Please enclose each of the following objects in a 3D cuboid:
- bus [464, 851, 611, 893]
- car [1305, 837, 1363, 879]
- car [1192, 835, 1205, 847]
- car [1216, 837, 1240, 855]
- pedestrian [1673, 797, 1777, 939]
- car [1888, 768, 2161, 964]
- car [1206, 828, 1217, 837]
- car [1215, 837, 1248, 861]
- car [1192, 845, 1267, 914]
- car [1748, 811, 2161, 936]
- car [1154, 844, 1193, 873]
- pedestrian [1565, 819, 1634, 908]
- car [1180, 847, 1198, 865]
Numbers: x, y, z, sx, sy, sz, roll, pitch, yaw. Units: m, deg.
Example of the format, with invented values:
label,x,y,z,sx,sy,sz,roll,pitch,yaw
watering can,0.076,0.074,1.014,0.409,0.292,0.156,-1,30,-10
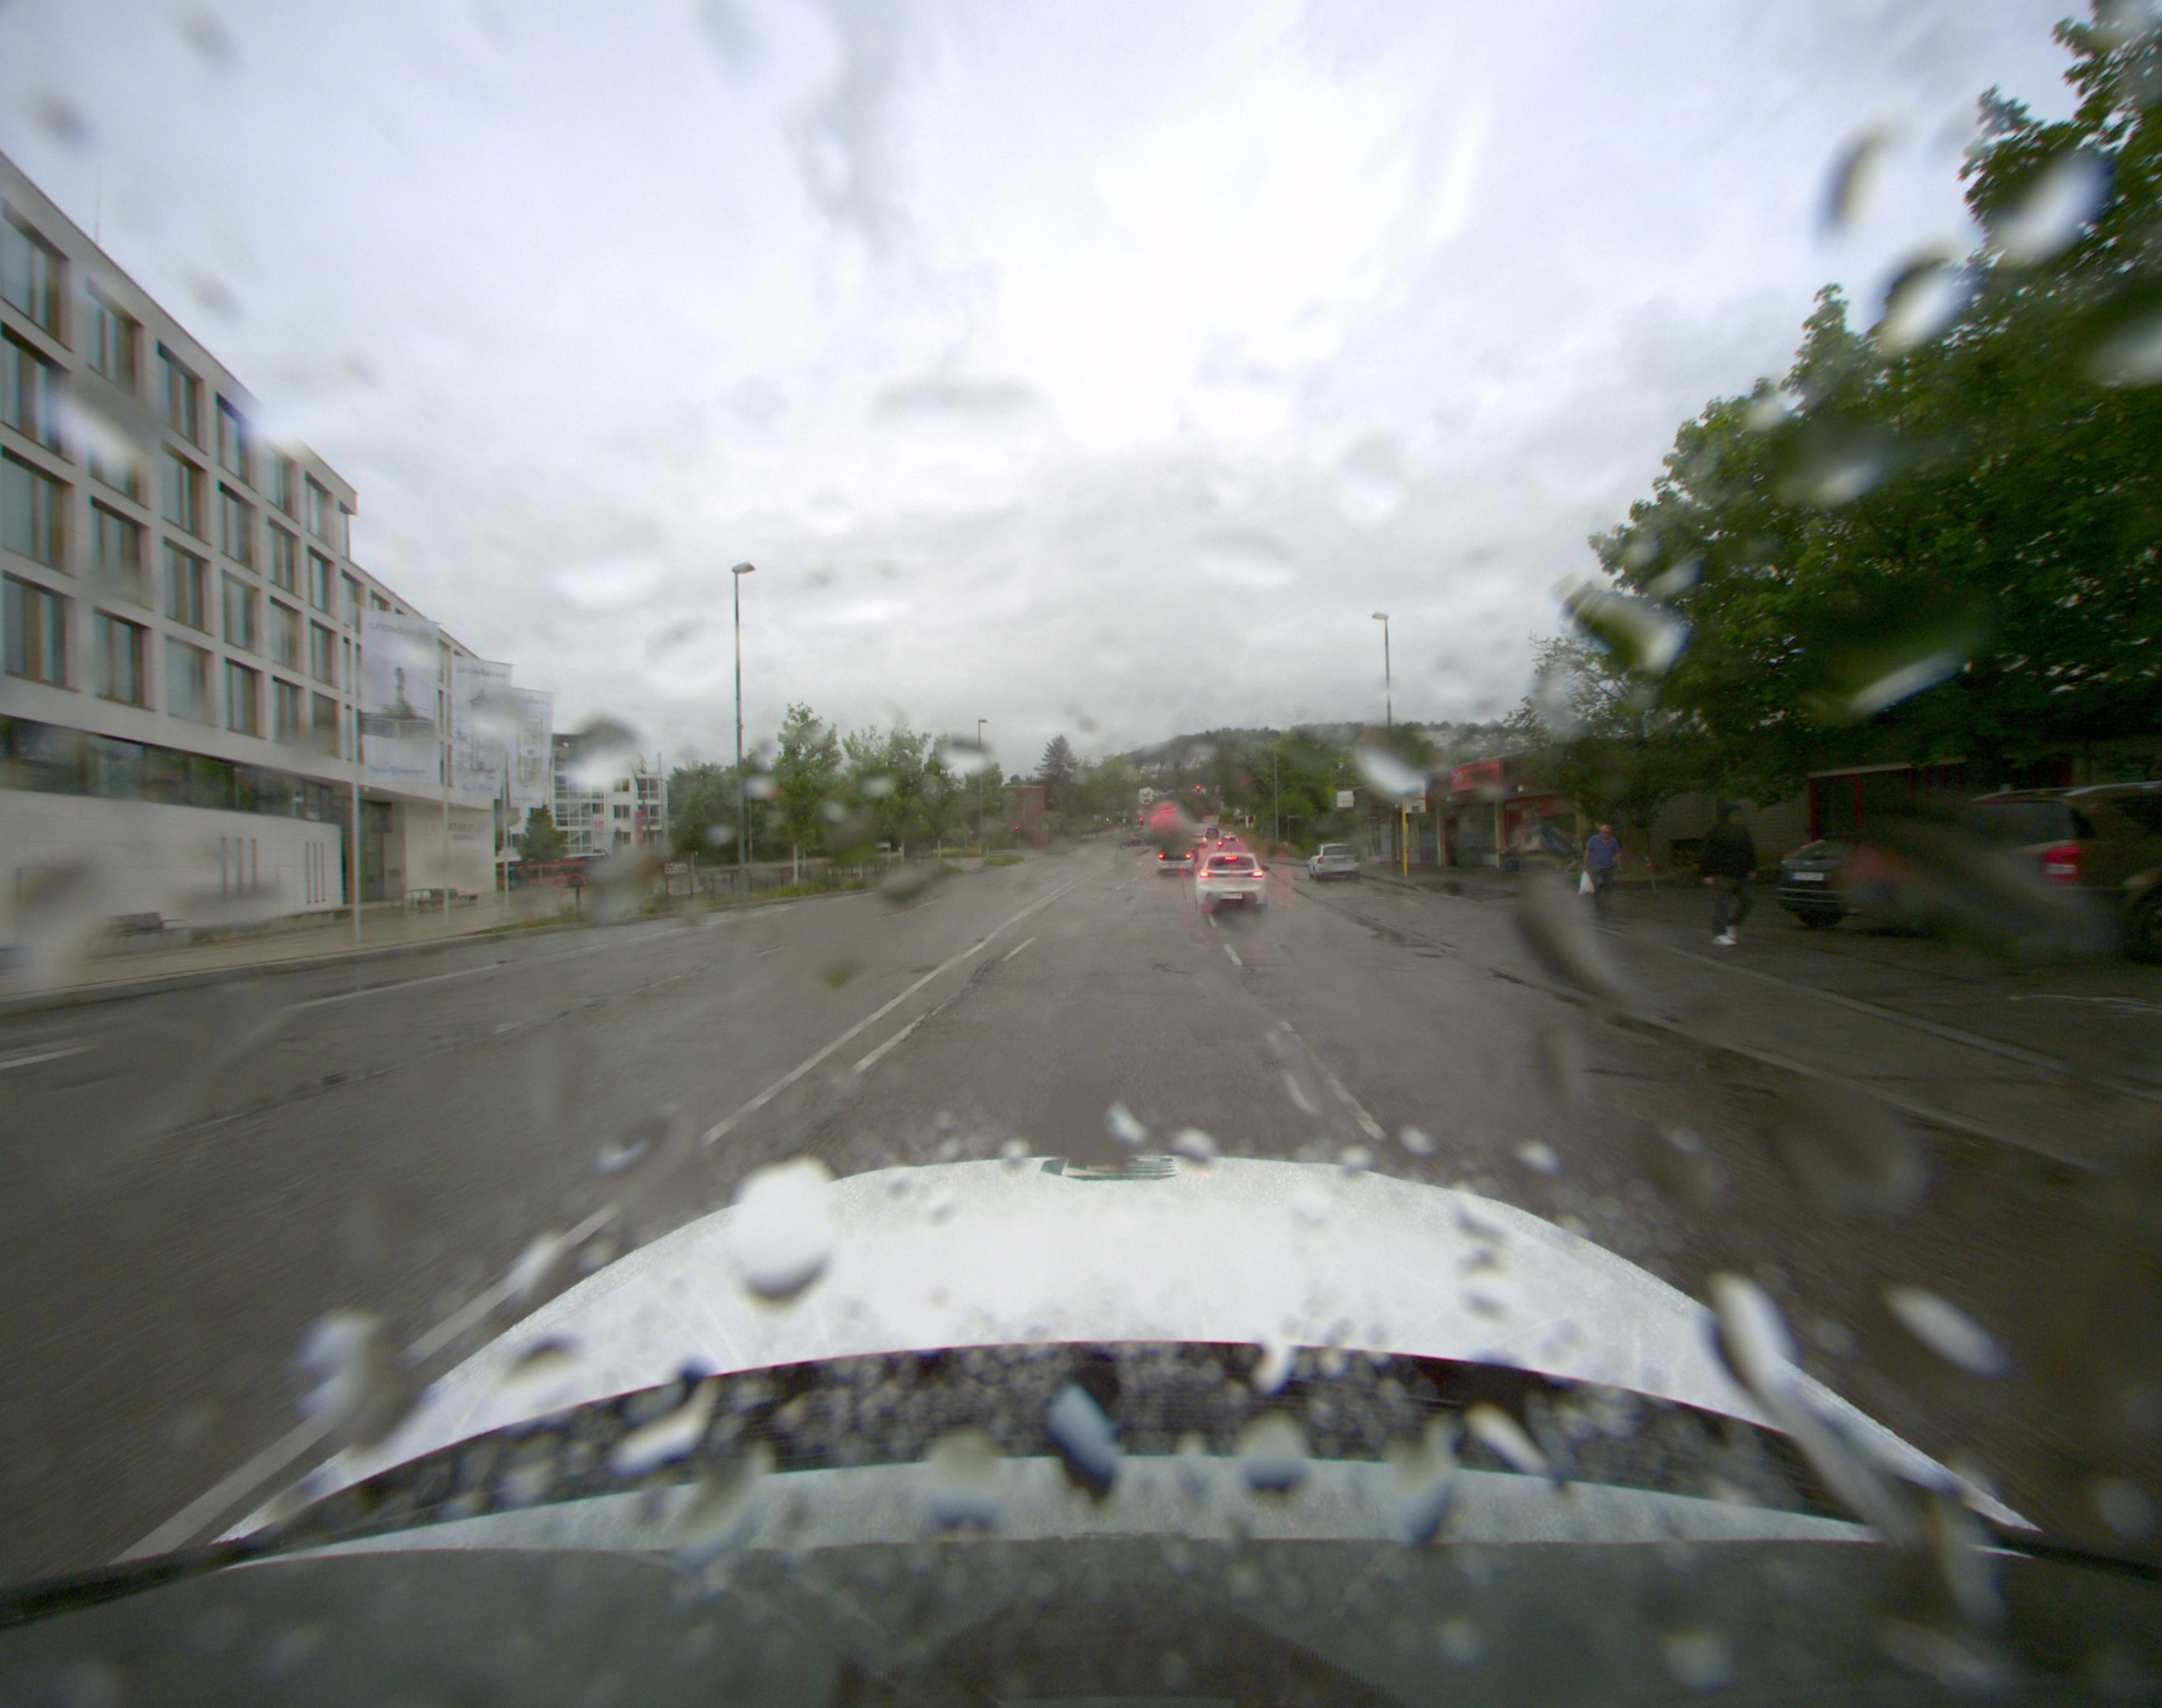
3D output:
label,x,y,z,sx,sy,sz,roll,pitch,yaw
bus,-47.933,1.548,72.315,10.427,3.281,2.838,-2,-2,-25
car,10.224,0.111,33.196,1.719,1.497,4.495,-3,1,11
car,12.612,-1.430,87.399,1.377,1.126,2.616,-3,-2,8
car,13.301,-0.717,74.026,1.641,1.485,3.367,-3,-2,2
pedestrian,8.668,0.184,10.978,0.712,1.821,0.789,-1,-2,-27
car,11.693,0.039,8.717,4.075,1.871,1.879,-3,0,4
car,18.246,-2.958,113.641,1.359,1.157,2.431,-2,-1,7
car,9.535,-0.352,51.776,1.726,1.387,3.356,-1,3,4
car,3.786,0.573,20.685,1.680,1.519,3.945,-1,1,11
car,12.212,0.247,11.441,4.132,1.454,1.803,-3,0,1
car,4.599,0.244,40.132,1.731,1.296,3.341,-3,-1,8
pedestrian,10.621,0.178,16.721,0.872,1.737,0.760,-3,1,1
car,7.657,0.163,57.611,1.206,1.156,2.274,-2,-2,7
